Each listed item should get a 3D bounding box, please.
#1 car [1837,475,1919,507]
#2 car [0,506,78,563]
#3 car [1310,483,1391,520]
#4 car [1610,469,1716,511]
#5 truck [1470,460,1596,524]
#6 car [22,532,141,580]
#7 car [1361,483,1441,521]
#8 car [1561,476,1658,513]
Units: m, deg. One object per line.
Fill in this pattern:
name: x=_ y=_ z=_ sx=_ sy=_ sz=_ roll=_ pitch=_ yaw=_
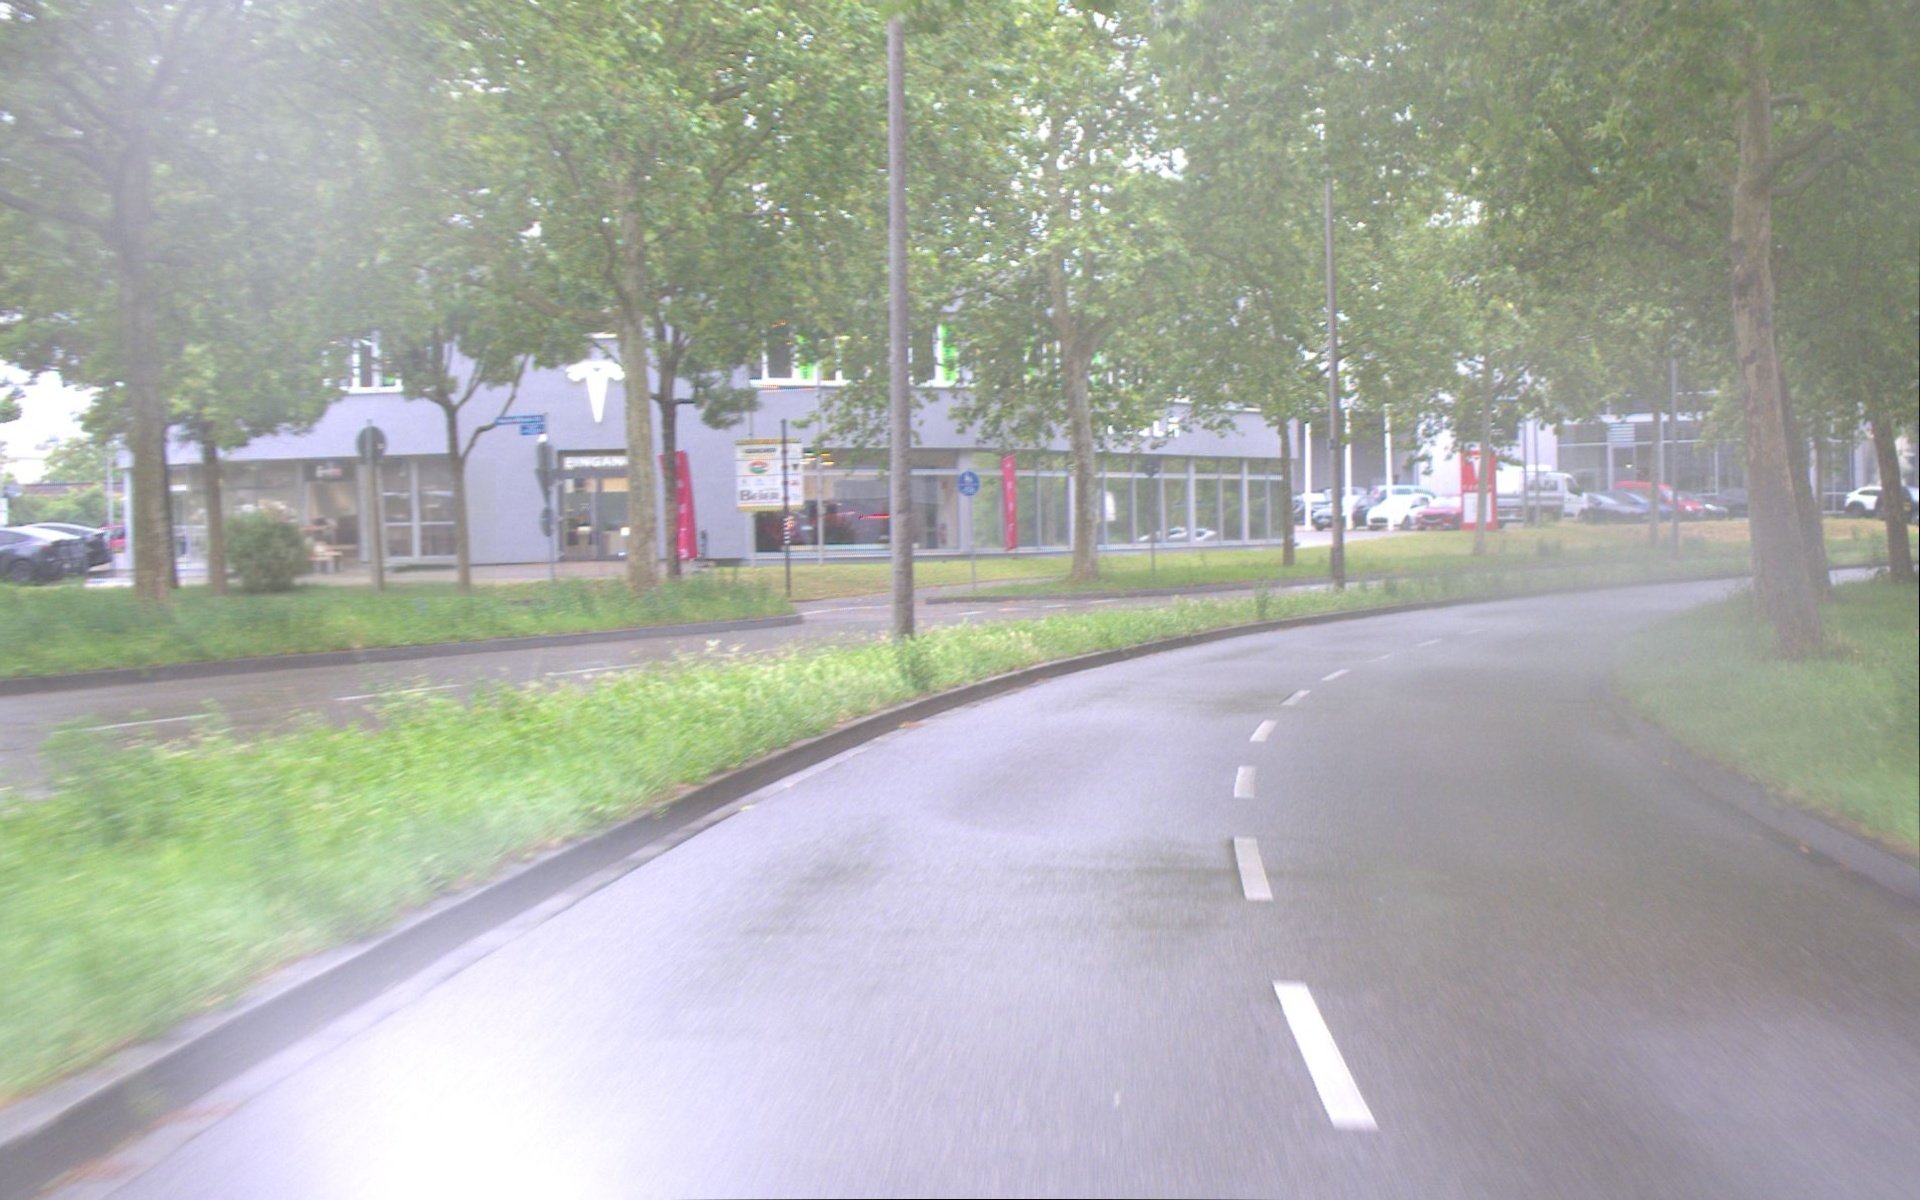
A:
car: x=44.070 y=-5.171 z=163.031 sx=4.431 sy=1.468 sz=1.916 roll=1 pitch=3 yaw=37
car: x=-25.780 y=-1.744 z=91.410 sx=4.191 sy=1.489 sz=1.598 roll=0 pitch=1 yaw=3
car: x=16.580 y=-4.183 z=145.800 sx=1.766 sy=1.392 sz=4.150 roll=2 pitch=5 yaw=32
car: x=30.185 y=-4.727 z=147.671 sx=4.005 sy=1.551 sz=1.843 roll=5 pitch=6 yaw=39
truck: x=23.481 y=-4.468 z=140.728 sx=2.252 sy=2.336 sz=6.181 roll=5 pitch=6 yaw=39
car: x=-27.796 y=-1.395 z=108.859 sx=3.306 sy=1.489 sz=1.598 roll=0 pitch=1 yaw=3
car: x=18.560 y=-4.128 z=144.511 sx=1.766 sy=1.392 sz=4.150 roll=2 pitch=5 yaw=32
car: x=27.155 y=-4.407 z=143.693 sx=3.531 sy=1.322 sz=1.765 roll=5 pitch=6 yaw=39
